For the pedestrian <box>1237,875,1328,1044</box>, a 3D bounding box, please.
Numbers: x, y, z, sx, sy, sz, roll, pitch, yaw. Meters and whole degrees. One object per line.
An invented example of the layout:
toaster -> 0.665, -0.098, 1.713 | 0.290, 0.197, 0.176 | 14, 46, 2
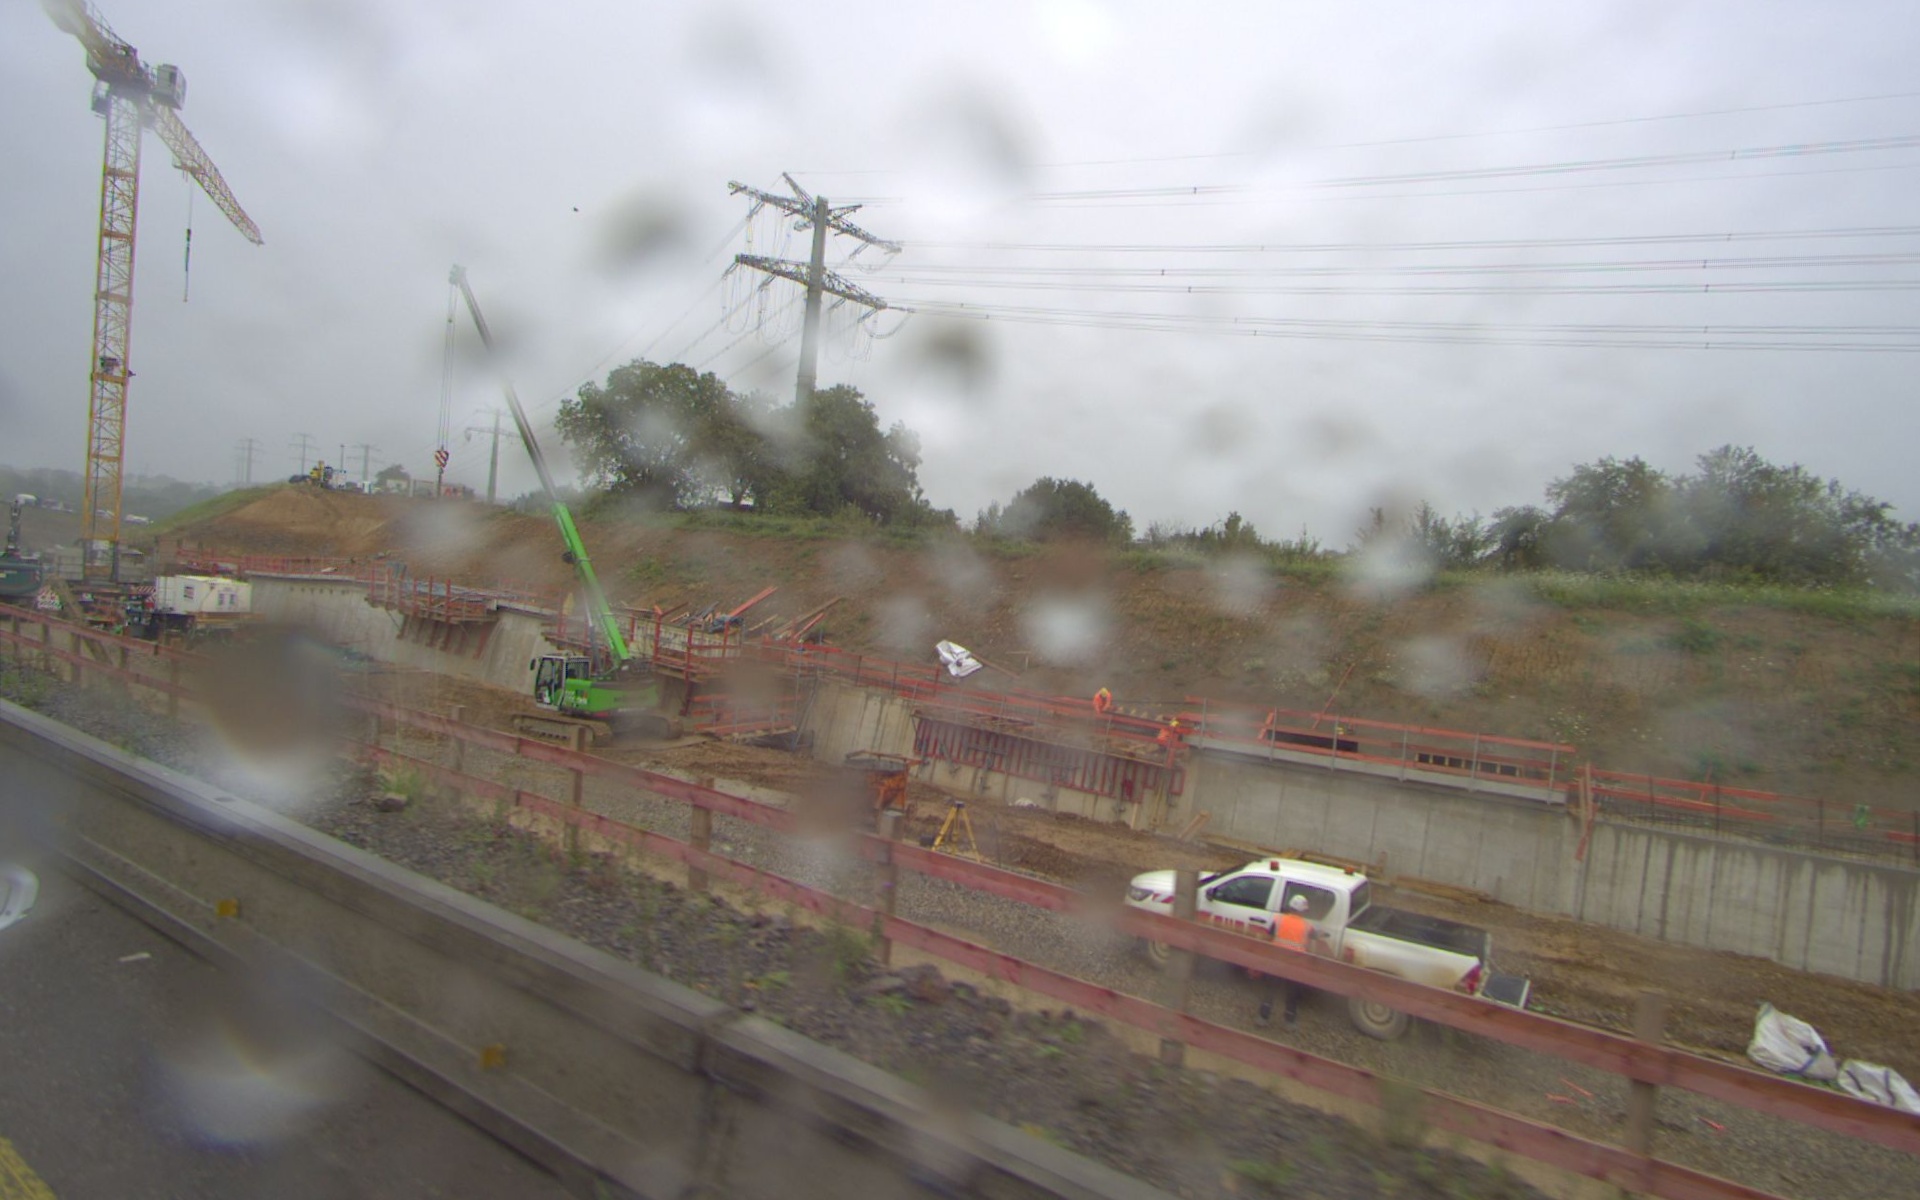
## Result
pedestrian -> 4.301, 4.740, 13.391 | 0.797, 1.822, 0.934 | 6, 1, 32

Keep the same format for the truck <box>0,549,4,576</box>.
truck -> -90.729, -3.206, 92.833 | 8.943, 3.531, 2.726 | 5, -2, 43

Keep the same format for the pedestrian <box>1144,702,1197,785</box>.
pedestrian -> 6.248, 4.263, 29.820 | 0.991, 2.253, 0.917 | 5, -6, 37

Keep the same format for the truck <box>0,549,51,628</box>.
truck -> -51.296, -0.835, 53.402 | 8.814, 3.544, 2.700 | 6, -2, 38

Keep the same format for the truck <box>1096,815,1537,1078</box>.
truck -> 5.026, 4.771, 14.739 | 5.694, 1.894, 1.763 | 6, 0, 34

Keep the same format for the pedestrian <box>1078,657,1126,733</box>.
pedestrian -> 4.637, 3.088, 32.779 | 0.989, 2.267, 0.919 | 6, -6, 30

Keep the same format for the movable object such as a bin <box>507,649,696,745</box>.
movable object such as a bin -> -12.113, 3.227, 34.058 | 4.780, 2.835, 3.797 | 0, -4, 33
